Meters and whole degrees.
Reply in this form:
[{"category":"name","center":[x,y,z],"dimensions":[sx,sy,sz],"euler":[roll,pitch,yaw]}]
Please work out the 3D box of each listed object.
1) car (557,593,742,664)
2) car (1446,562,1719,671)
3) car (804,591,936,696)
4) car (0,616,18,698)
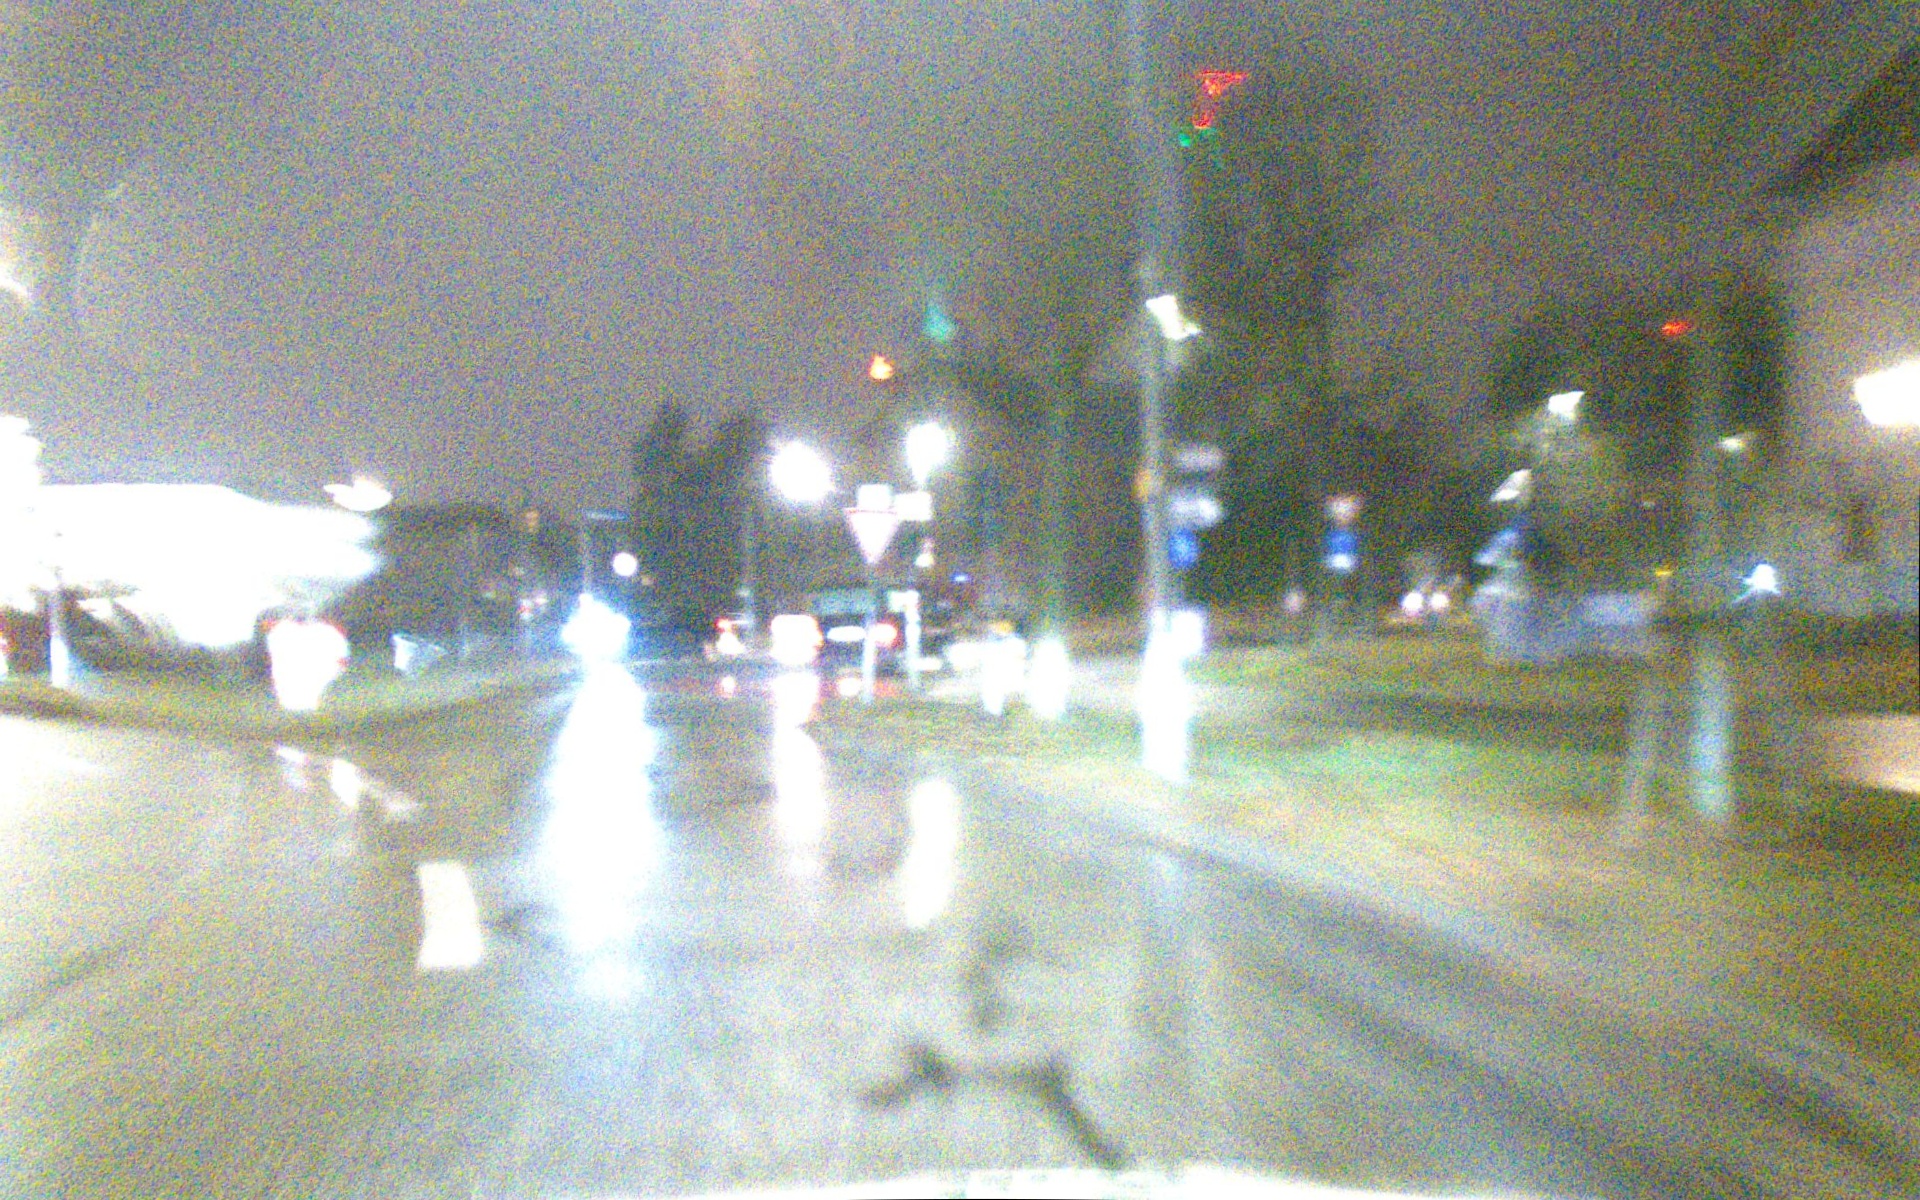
[{"category":"car","center":[-8.351,0.720,44.753],"dimensions":[4.578,1.766,1.971],"euler":[-1,1,-41]},{"category":"car","center":[10.523,0.239,28.109],"dimensions":[1.903,1.713,3.936],"euler":[-1,1,-43]},{"category":"car","center":[-1.849,0.873,35.534],"dimensions":[1.951,2.049,4.562],"euler":[0,1,8]},{"category":"car","center":[-21.538,1.208,33.786],"dimensions":[3.846,1.668,1.841],"euler":[-1,1,-35]}]
